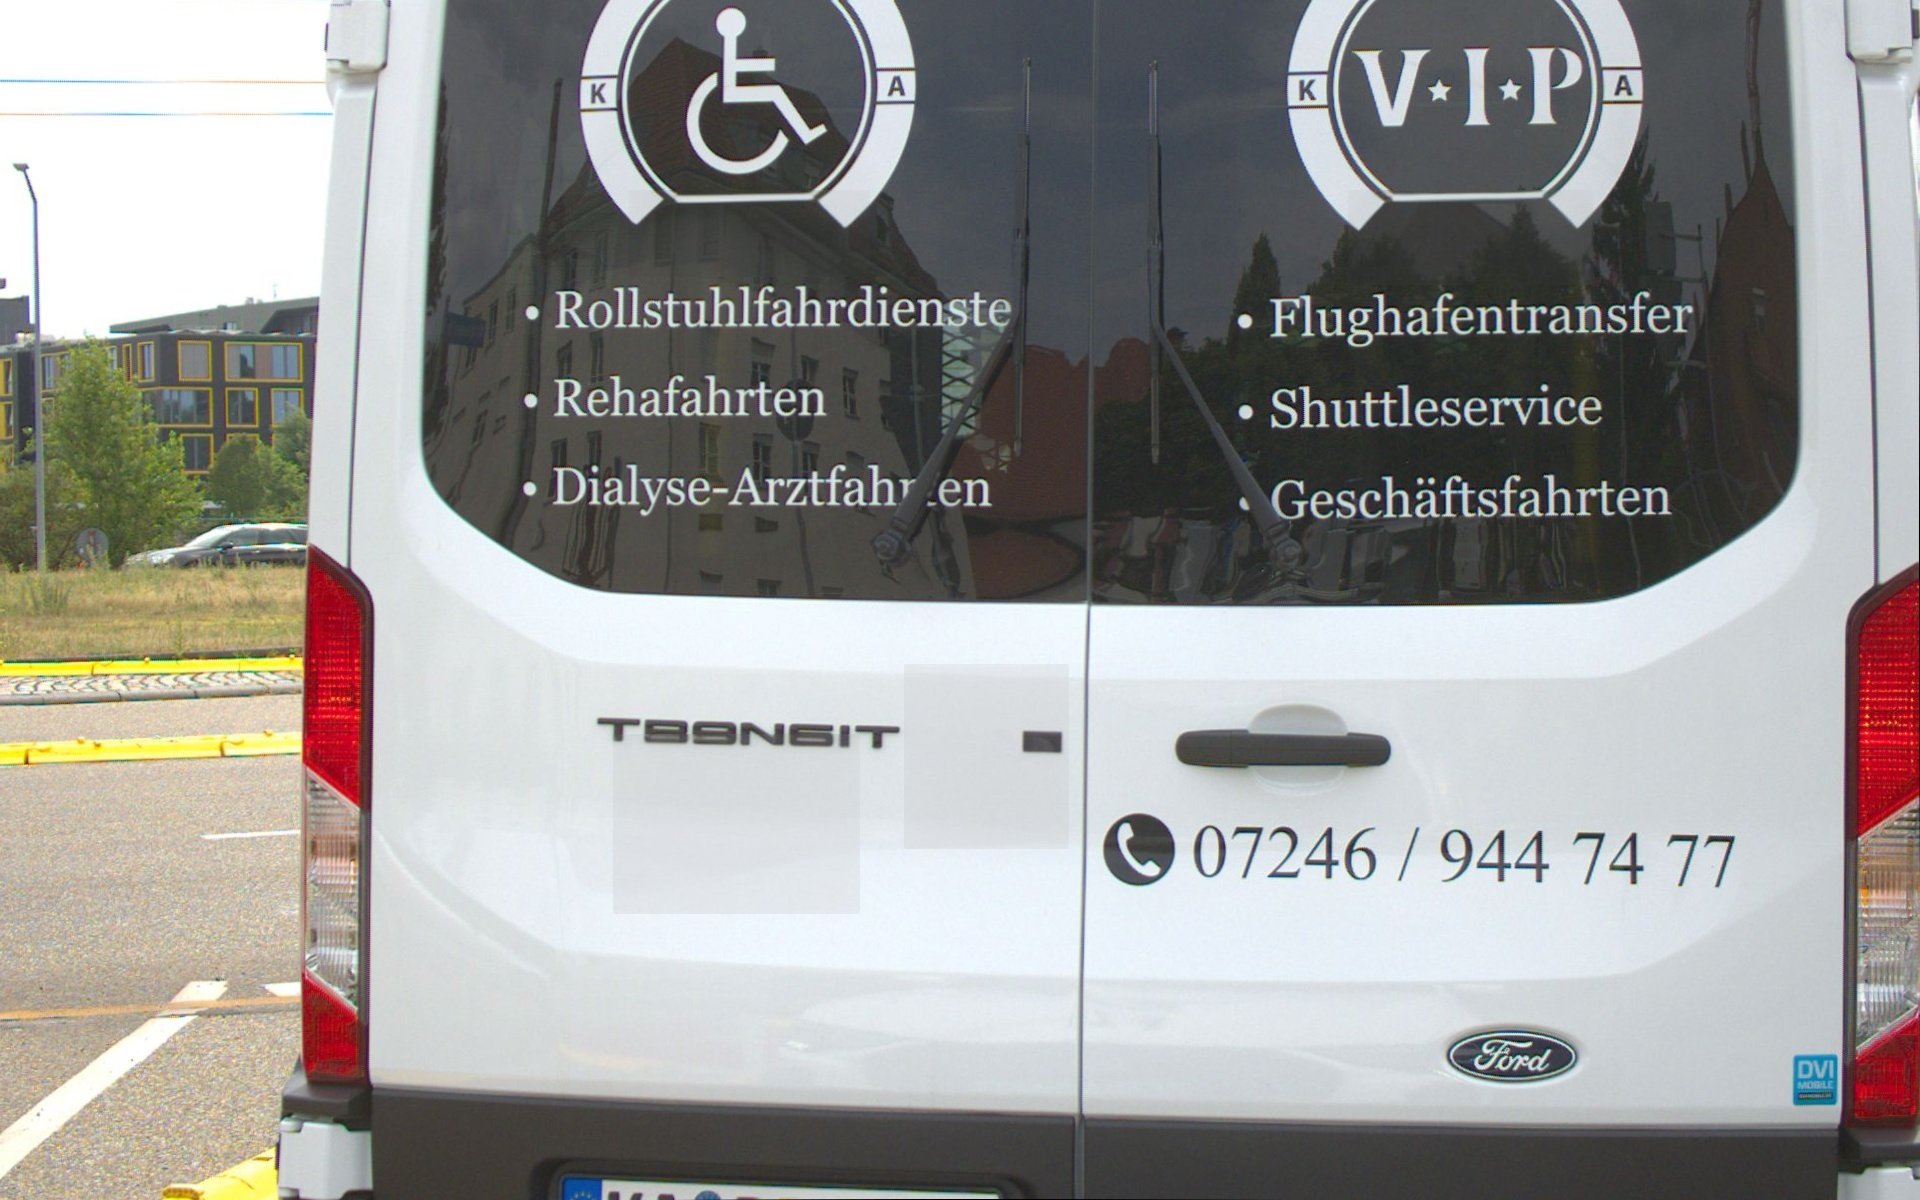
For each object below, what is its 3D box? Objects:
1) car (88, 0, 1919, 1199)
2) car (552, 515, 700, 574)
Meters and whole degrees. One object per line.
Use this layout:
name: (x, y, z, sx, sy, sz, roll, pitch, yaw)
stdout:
car: (0.392, 0.001, 6.365, 2.126, 2.688, 5.631, -1, 1, 5)
car: (-8.454, -1.408, 87.358, 1.830, 1.458, 3.994, 0, 1, 28)
